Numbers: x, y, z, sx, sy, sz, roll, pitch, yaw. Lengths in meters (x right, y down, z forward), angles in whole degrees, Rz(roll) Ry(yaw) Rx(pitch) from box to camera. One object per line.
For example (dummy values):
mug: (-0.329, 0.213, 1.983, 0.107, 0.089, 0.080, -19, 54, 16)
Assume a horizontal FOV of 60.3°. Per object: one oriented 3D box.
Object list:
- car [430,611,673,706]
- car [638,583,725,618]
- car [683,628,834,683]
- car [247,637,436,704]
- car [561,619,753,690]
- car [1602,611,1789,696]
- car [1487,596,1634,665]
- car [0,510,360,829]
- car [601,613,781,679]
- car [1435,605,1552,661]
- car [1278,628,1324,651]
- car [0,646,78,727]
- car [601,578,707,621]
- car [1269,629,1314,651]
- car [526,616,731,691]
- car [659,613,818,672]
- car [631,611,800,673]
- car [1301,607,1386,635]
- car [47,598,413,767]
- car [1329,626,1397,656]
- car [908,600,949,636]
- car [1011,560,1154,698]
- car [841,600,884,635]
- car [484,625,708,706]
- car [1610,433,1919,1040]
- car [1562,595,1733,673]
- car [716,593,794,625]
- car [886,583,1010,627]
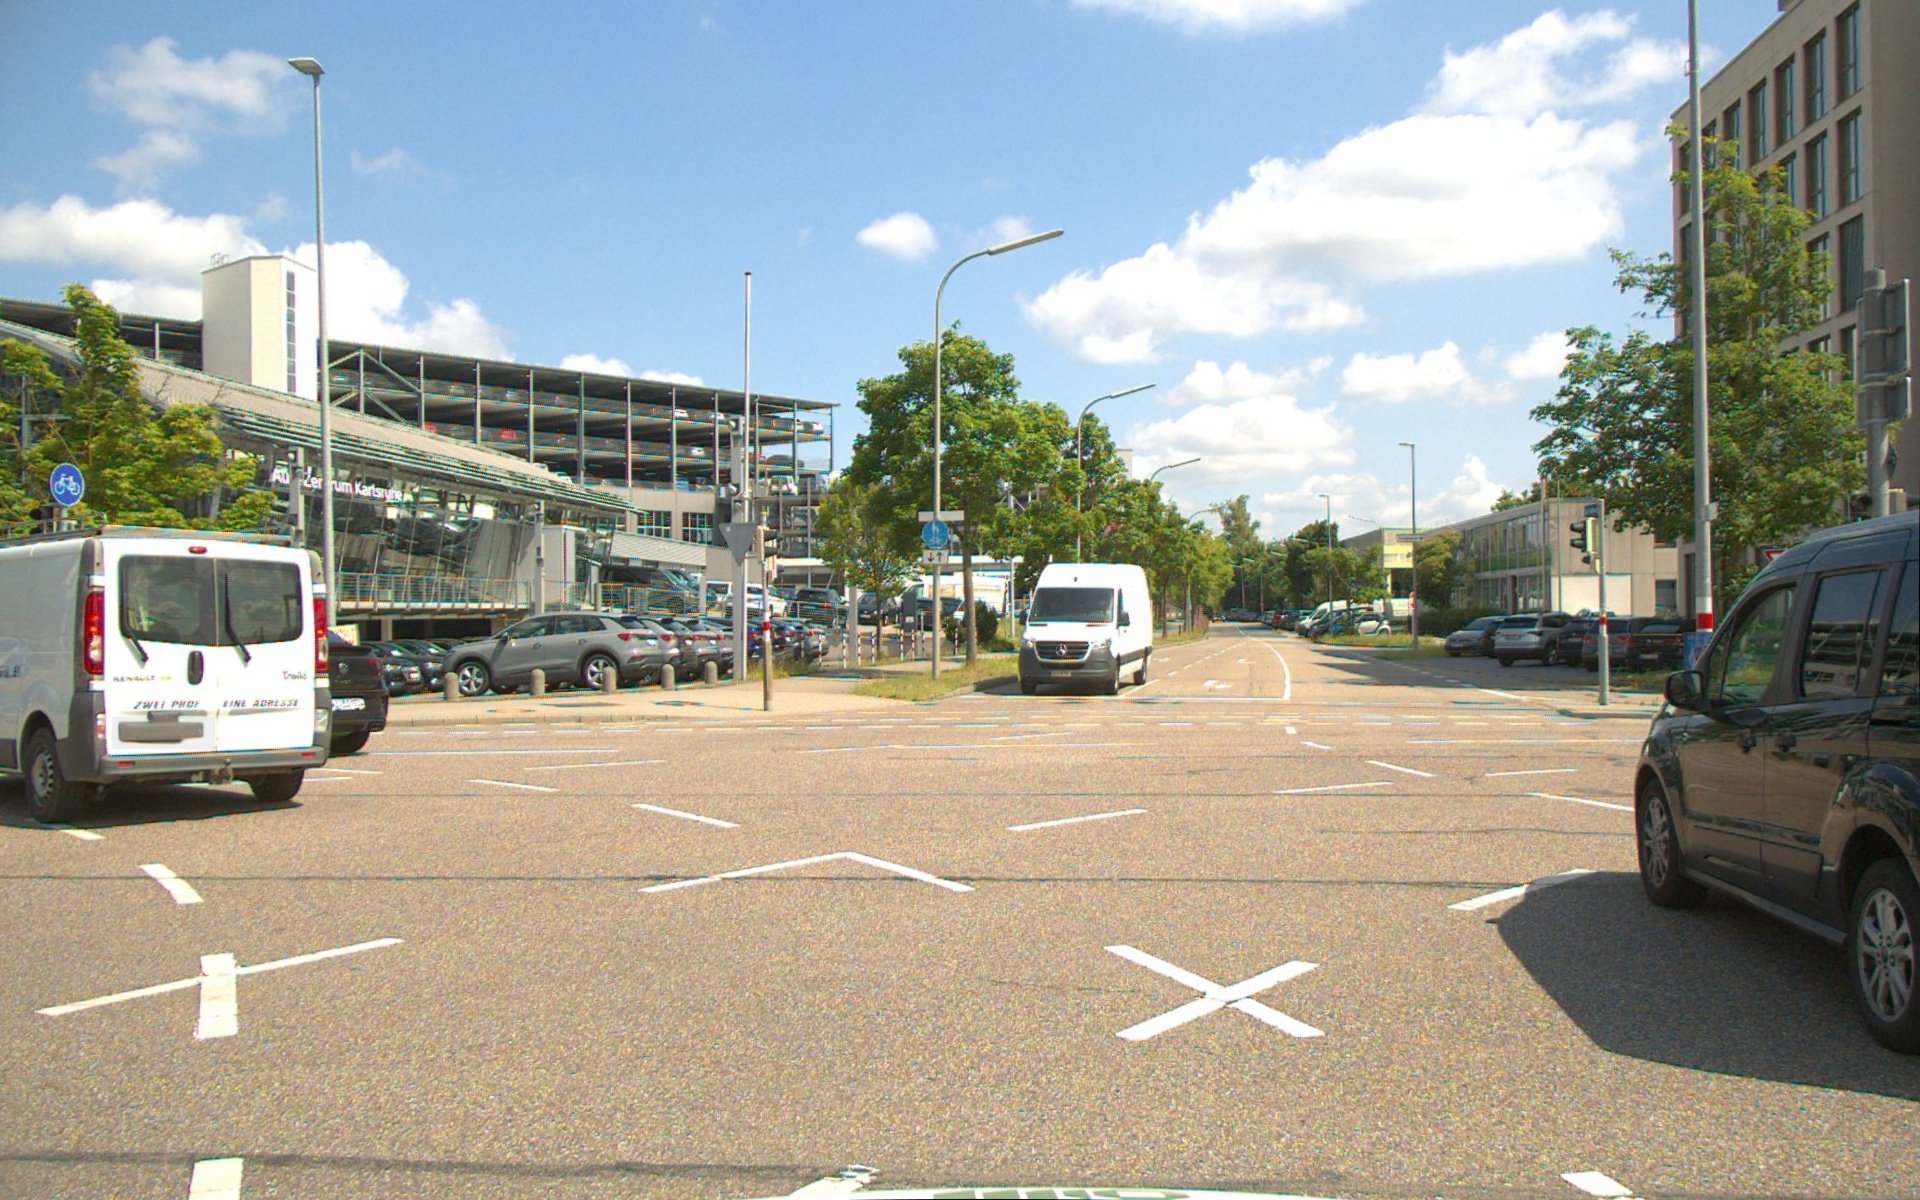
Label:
car: (-8.473, 1.230, 34.502, 4.478, 1.707, 1.908, -3, -2, 7)
car: (-13.459, 0.030, 80.109, 3.906, 1.579, 1.764, 1, -2, -2)
car: (-6.472, 1.791, 53.476, 4.477, 1.707, 1.908, 1, -2, 7)
car: (-17.227, 1.949, 46.209, 4.443, 1.771, 2.001, 1, -2, 3)
car: (-7.783, 1.401, 42.680, 4.477, 1.707, 1.908, 1, -2, 7)
car: (18.707, 1.361, 42.192, 3.904, 2.049, 2.000, 1, -2, 2)
car: (18.706, 0.956, 51.651, 3.904, 2.049, 2.000, 1, -2, 2)
car: (-6.788, 0.502, 13.119, 4.483, 2.096, 1.967, -1, -2, 42)
car: (-7.343, 1.272, 45.338, 4.477, 1.707, 1.908, 1, -2, 7)
car: (20.422, 1.272, 63.414, 3.904, 2.049, 2.000, 1, -2, 2)
car: (31.311, 3.672, 151.864, 3.904, 2.049, 2.000, 1, -2, 2)
car: (-19.728, 1.714, 31.769, 4.640, 1.490, 1.796, -1, -4, 5)
car: (-13.848, -0.008, 74.984, 4.348, 1.833, 1.766, 1, -2, 4)
car: (31.201, 3.789, 155.751, 3.904, 2.049, 2.000, 1, -2, 2)
car: (-8.003, 1.290, 40.167, 4.477, 1.707, 1.908, 1, -2, 7)
car: (-6.745, 1.302, 50.635, 4.477, 1.707, 1.908, 1, -2, 7)
car: (-7.071, 1.213, 48.063, 4.477, 1.707, 1.908, 1, -2, 7)
car: (29.473, 1.628, 127.289, 6.205, 2.049, 2.574, 1, -2, 8)
car: (-7.999, 0.844, 18.046, 3.915, 1.658, 1.775, -1, -2, 32)
car: (24.929, 2.556, 102.500, 3.902, 1.781, 2.001, 1, -2, 8)
car: (-1.443, 0.870, 77.762, 1.528, 1.579, 3.604, 1, -2, 5)
car: (2.766, 0.657, 35.426, 2.087, 2.653, 6.868, 0, -2, 12)
car: (-4.624, 0.852, 78.781, 1.528, 1.579, 3.604, 1, -2, 5)
car: (-8.091, 1.454, 36.988, 4.477, 1.707, 1.908, 1, -2, 7)
car: (4.102, 0.469, 6.612, 1.784, 1.938, 4.002, 0, -1, 6)
car: (18.964, 0.953, 45.759, 3.904, 2.049, 2.000, 1, -2, 2)
car: (-10.765, 0.502, 87.022, 3.906, 1.579, 1.764, 1, -2, -2)
car: (-0.596, 0.288, 85.182, 6.252, 2.139, 1.766, 1, -2, 5)
